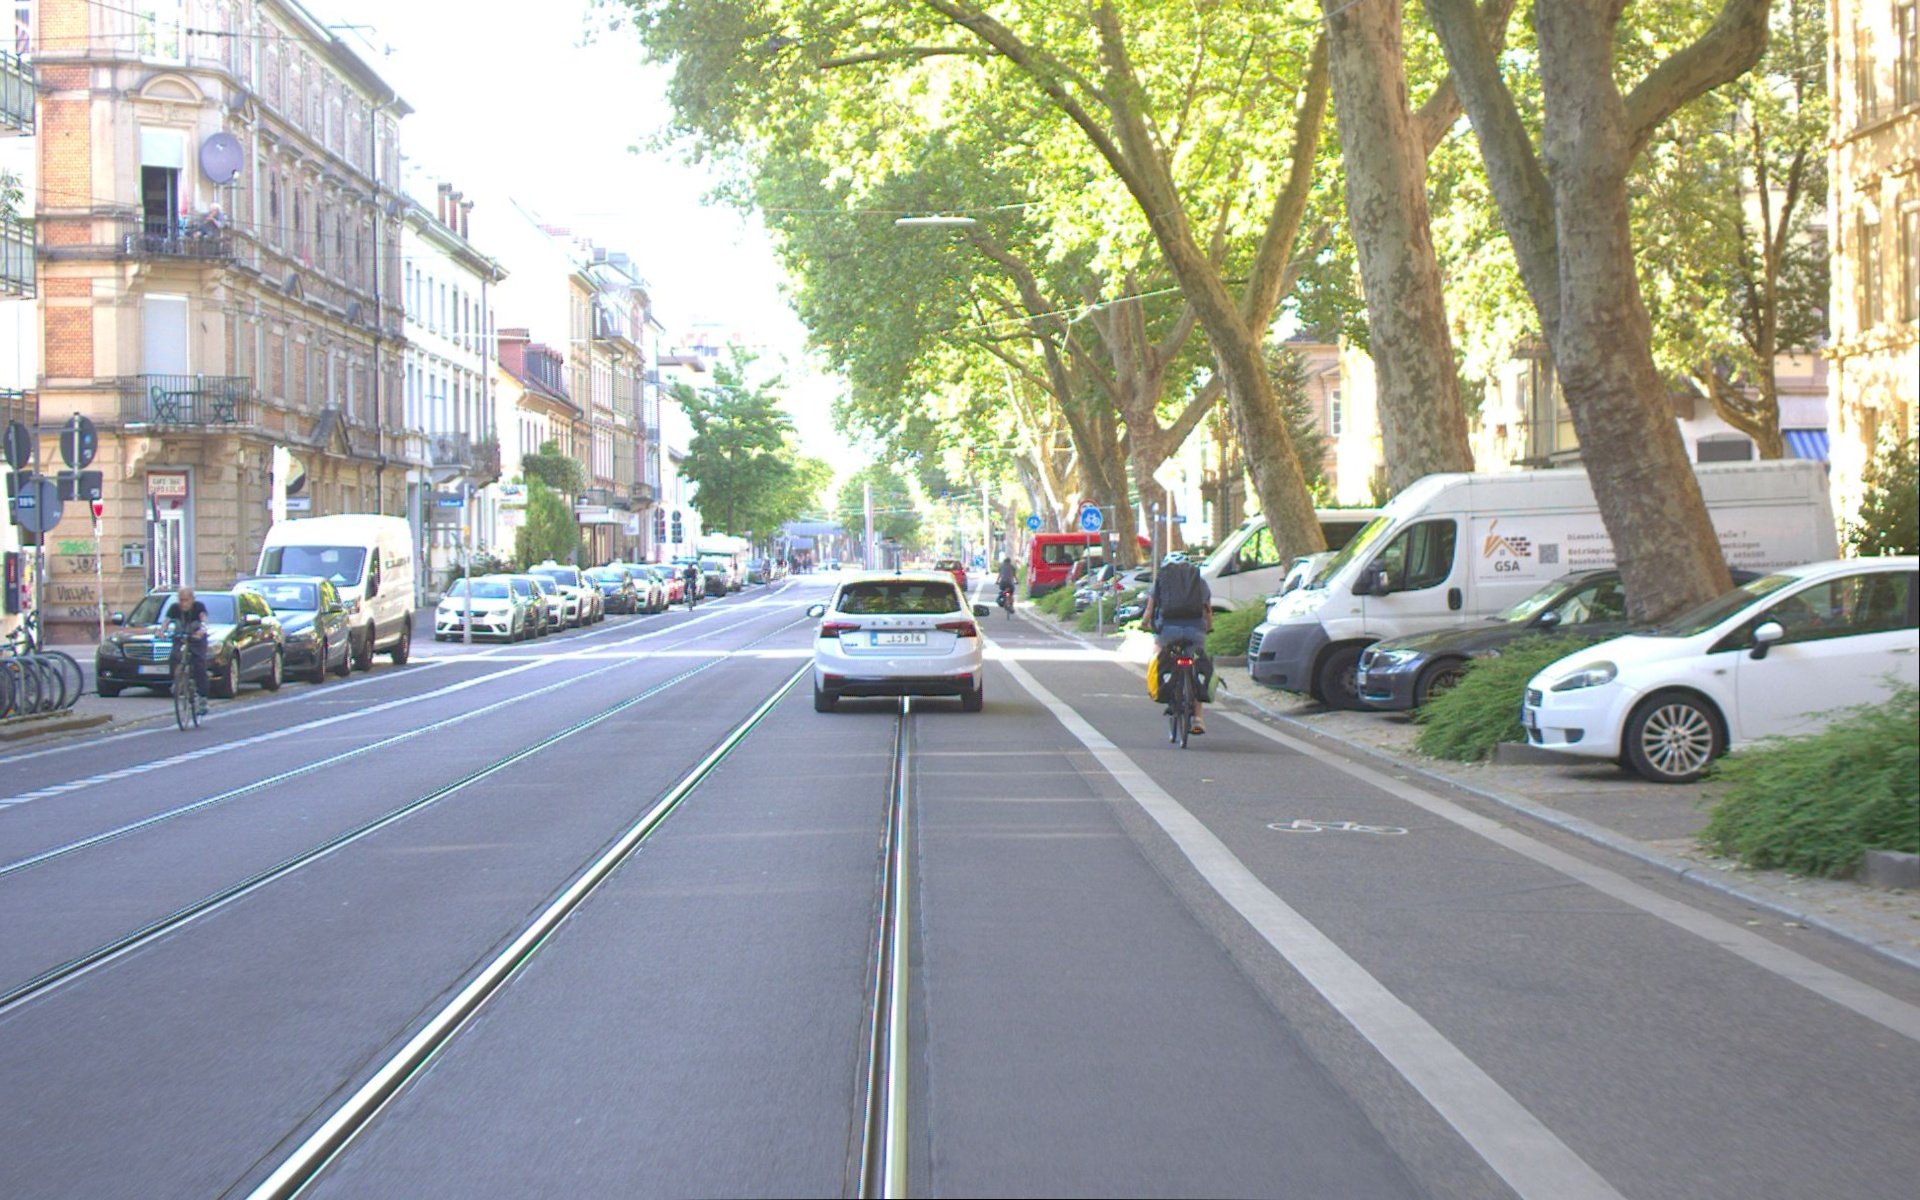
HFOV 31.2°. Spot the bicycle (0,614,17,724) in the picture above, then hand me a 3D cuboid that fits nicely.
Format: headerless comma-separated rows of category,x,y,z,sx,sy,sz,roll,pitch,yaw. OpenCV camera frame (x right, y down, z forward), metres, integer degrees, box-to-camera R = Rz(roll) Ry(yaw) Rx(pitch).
bicycle,-10.696,0.687,35.216,1.961,1.115,0.439,1,0,6

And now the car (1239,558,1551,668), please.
car,6.016,0.166,47.873,4.053,1.455,1.796,-1,1,-2

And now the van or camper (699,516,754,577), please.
van or camper,-12.296,-2.819,181.320,2.216,3.129,7.113,0,1,1

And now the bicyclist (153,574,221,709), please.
bicyclist,-8.152,0.434,36.285,0.508,1.389,0.709,-2,0,-1

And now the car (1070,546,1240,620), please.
car,5.139,-0.458,91.062,4.261,1.713,1.849,-3,1,-2

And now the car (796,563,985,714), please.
car,-0.765,0.364,35.775,1.842,1.475,3.839,0,1,-2

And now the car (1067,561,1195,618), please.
car,4.975,-0.306,100.362,3.595,1.512,1.694,-2,1,0

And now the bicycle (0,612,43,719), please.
bicycle,-10.674,0.675,36.389,1.819,1.115,0.424,1,0,6

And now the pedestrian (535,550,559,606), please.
pedestrian,-14.853,-0.784,123.652,0.759,2.007,0.830,0,1,-2

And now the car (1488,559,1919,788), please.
car,5.803,0.477,23.985,3.953,1.475,1.688,-1,1,1

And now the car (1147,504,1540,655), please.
car,6.001,-0.342,54.349,5.991,2.274,2.006,-1,1,1

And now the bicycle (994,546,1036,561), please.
bicycle,3.730,-3.145,233.342,2.771,0.996,0.592,1,0,15

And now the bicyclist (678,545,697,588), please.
bicyclist,-9.470,-1.171,119.340,0.582,1.477,0.807,-1,0,-1

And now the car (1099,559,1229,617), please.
car,5.803,-0.344,98.020,3.595,1.594,1.541,-1,0,0

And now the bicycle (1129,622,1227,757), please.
bicycle,1.798,0.717,28.590,0.595,1.001,2.511,2,1,0

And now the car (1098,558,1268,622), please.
car,5.517,-0.245,85.330,4.027,1.475,1.681,-1,1,-2

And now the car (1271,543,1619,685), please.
car,5.956,0.167,42.510,3.954,1.650,1.796,-1,0,-3

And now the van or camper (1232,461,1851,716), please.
van or camper,5.975,-0.126,35.854,6.032,2.482,2.107,-1,0,-1

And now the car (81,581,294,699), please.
car,-10.249,0.497,45.922,1.718,1.451,4.572,0,1,1

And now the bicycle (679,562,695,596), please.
bicycle,-9.476,-0.721,119.389,0.421,1.146,2.232,-1,0,-1

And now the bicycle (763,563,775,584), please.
bicycle,-10.138,-1.423,182.309,0.481,1.082,1.846,-1,1,1

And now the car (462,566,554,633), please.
car,-10.961,-0.043,83.622,1.740,1.557,4.787,1,1,-2

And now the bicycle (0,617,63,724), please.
bicycle,-10.507,0.739,36.617,1.789,1.115,0.424,1,0,6

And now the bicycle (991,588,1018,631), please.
bicycle,1.247,0.256,96.991,0.680,1.151,2.964,1,1,0

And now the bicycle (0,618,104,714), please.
bicycle,-10.510,0.726,38.245,1.894,1.034,0.402,1,0,6

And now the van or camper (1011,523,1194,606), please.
van or camper,4.732,-1.202,114.708,5.814,2.510,2.288,-2,2,-2

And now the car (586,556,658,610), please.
car,-11.205,-0.581,114.228,1.856,1.698,4.763,-1,1,0

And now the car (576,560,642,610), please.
car,-11.140,-0.483,109.412,1.554,1.510,3.924,-1,1,2

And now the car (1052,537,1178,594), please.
car,4.938,-1.096,110.084,3.818,1.643,1.767,-2,0,-3

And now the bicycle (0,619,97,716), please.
bicycle,-10.447,0.728,37.665,1.894,1.034,0.402,1,0,6

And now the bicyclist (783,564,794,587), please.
bicyclist,-11.420,-1.635,229.106,0.638,1.498,1.069,-2,0,1

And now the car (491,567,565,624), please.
car,-11.135,-0.123,88.706,1.699,1.415,4.001,1,1,-5

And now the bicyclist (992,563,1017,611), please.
bicyclist,1.257,-0.370,97.114,0.679,1.334,0.525,1,0,0

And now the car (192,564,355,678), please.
car,-10.320,0.277,51.917,1.718,1.626,4.347,-1,1,-2

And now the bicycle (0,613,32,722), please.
bicycle,-10.670,0.682,35.703,1.969,1.115,0.424,1,0,6

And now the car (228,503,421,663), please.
car,-10.531,-0.299,57.405,2.065,2.527,5.667,0,1,1

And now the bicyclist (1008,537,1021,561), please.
bicyclist,3.710,-3.471,233.370,0.737,1.583,0.586,-1,1,12

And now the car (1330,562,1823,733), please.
car,5.887,0.437,33.170,4.388,1.547,1.783,1,0,-1

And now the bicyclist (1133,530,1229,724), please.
bicyclist,1.837,0.216,28.673,0.614,1.547,0.935,4,1,0

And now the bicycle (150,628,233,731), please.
bicycle,-8.133,0.829,36.425,0.417,1.014,1.947,-2,1,0

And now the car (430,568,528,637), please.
car,-10.868,0.038,77.884,1.740,1.486,4.045,1,1,-2

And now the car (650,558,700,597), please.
car,-11.659,-0.936,140.692,1.827,1.497,4.689,1,1,-2

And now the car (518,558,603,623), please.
car,-10.905,-0.285,94.044,1.786,1.717,4.719,1,1,0
